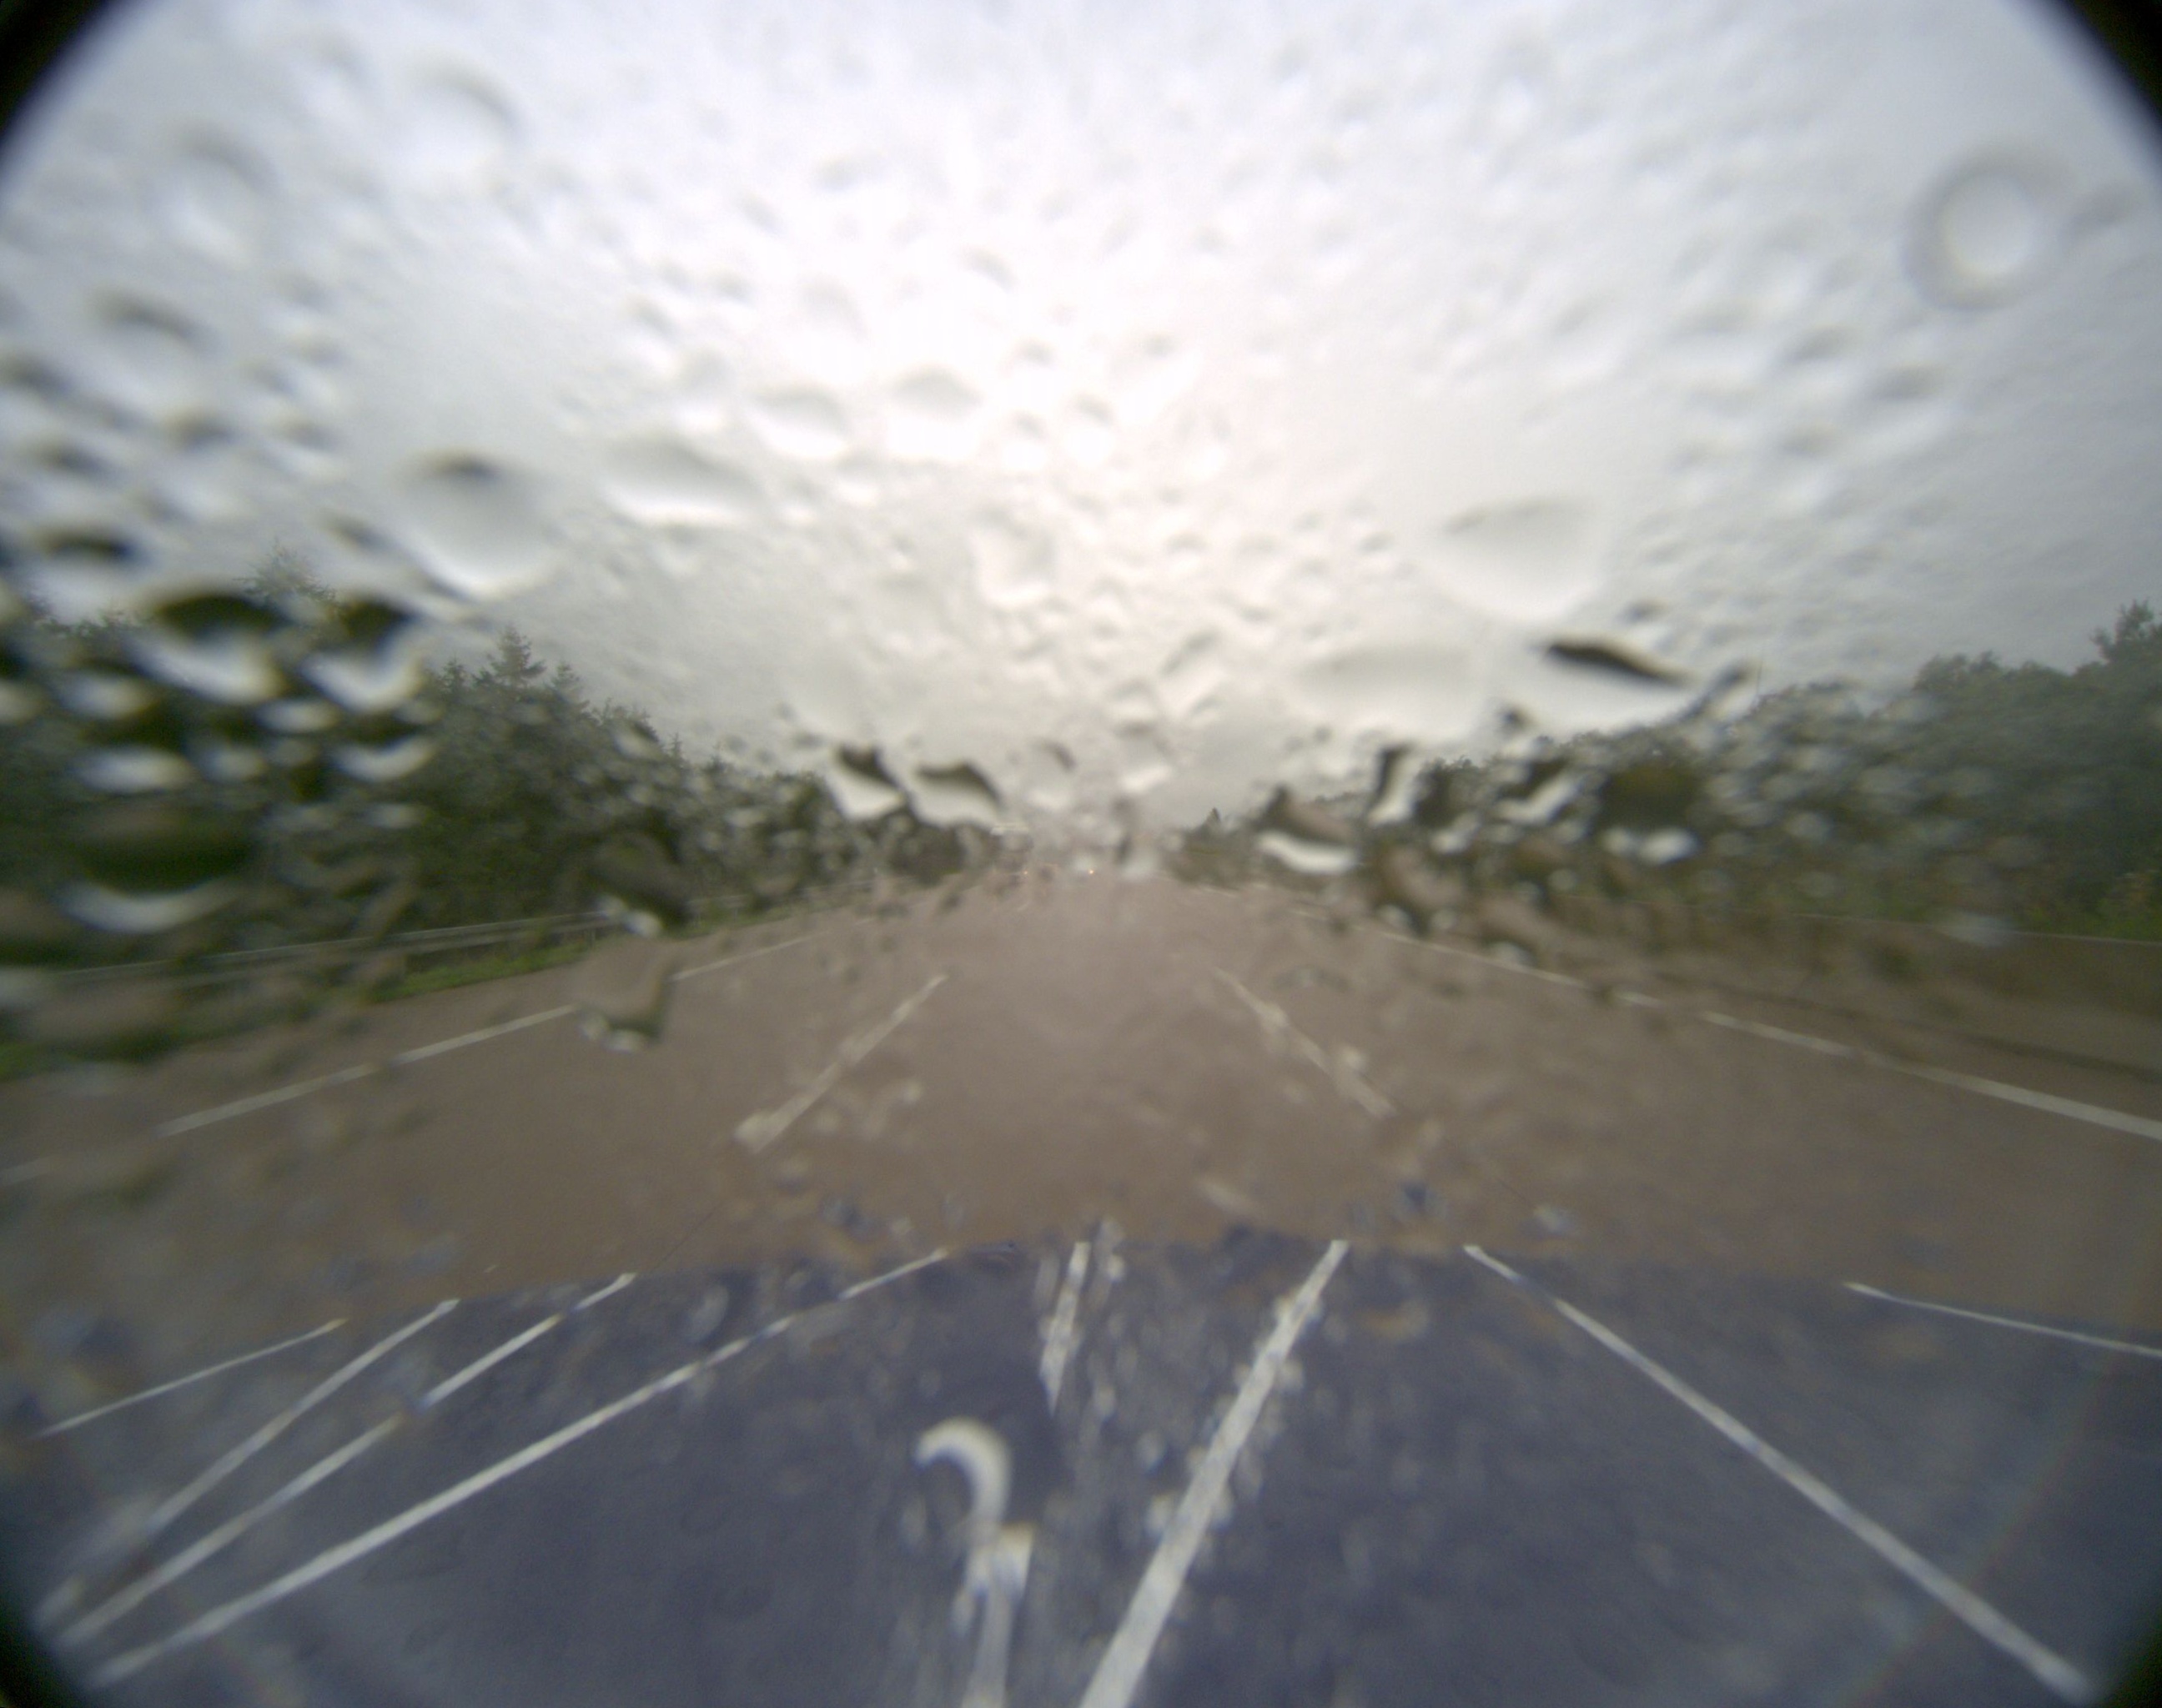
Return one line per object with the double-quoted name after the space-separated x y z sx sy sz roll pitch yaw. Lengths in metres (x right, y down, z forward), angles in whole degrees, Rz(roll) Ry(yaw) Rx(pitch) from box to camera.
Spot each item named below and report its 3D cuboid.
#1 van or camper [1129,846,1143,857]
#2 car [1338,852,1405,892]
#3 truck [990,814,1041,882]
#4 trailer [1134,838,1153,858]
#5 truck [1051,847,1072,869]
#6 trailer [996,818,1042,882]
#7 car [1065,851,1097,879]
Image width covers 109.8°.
13.579 -0.709 187.258 2.797 2.391 6.488 -5 0 -1 "van or camper"
15.643 0.914 41.164 1.999 2.002 3.999 -2 0 -1 "car"
-4.118 -0.296 48.895 2.888 4.082 6.349 0 -1 -2 "truck"
16.201 -1.478 199.003 4.000 5.029 14.238 -2 0 1 "trailer"
-3.513 0.793 138.243 3.242 3.707 7.955 -2 -1 1 "truck"
-4.417 -0.139 56.658 2.860 4.206 13.131 0 -1 -2 "trailer"
0.040 0.710 49.102 1.812 1.718 4.745 1 0 3 "car"
